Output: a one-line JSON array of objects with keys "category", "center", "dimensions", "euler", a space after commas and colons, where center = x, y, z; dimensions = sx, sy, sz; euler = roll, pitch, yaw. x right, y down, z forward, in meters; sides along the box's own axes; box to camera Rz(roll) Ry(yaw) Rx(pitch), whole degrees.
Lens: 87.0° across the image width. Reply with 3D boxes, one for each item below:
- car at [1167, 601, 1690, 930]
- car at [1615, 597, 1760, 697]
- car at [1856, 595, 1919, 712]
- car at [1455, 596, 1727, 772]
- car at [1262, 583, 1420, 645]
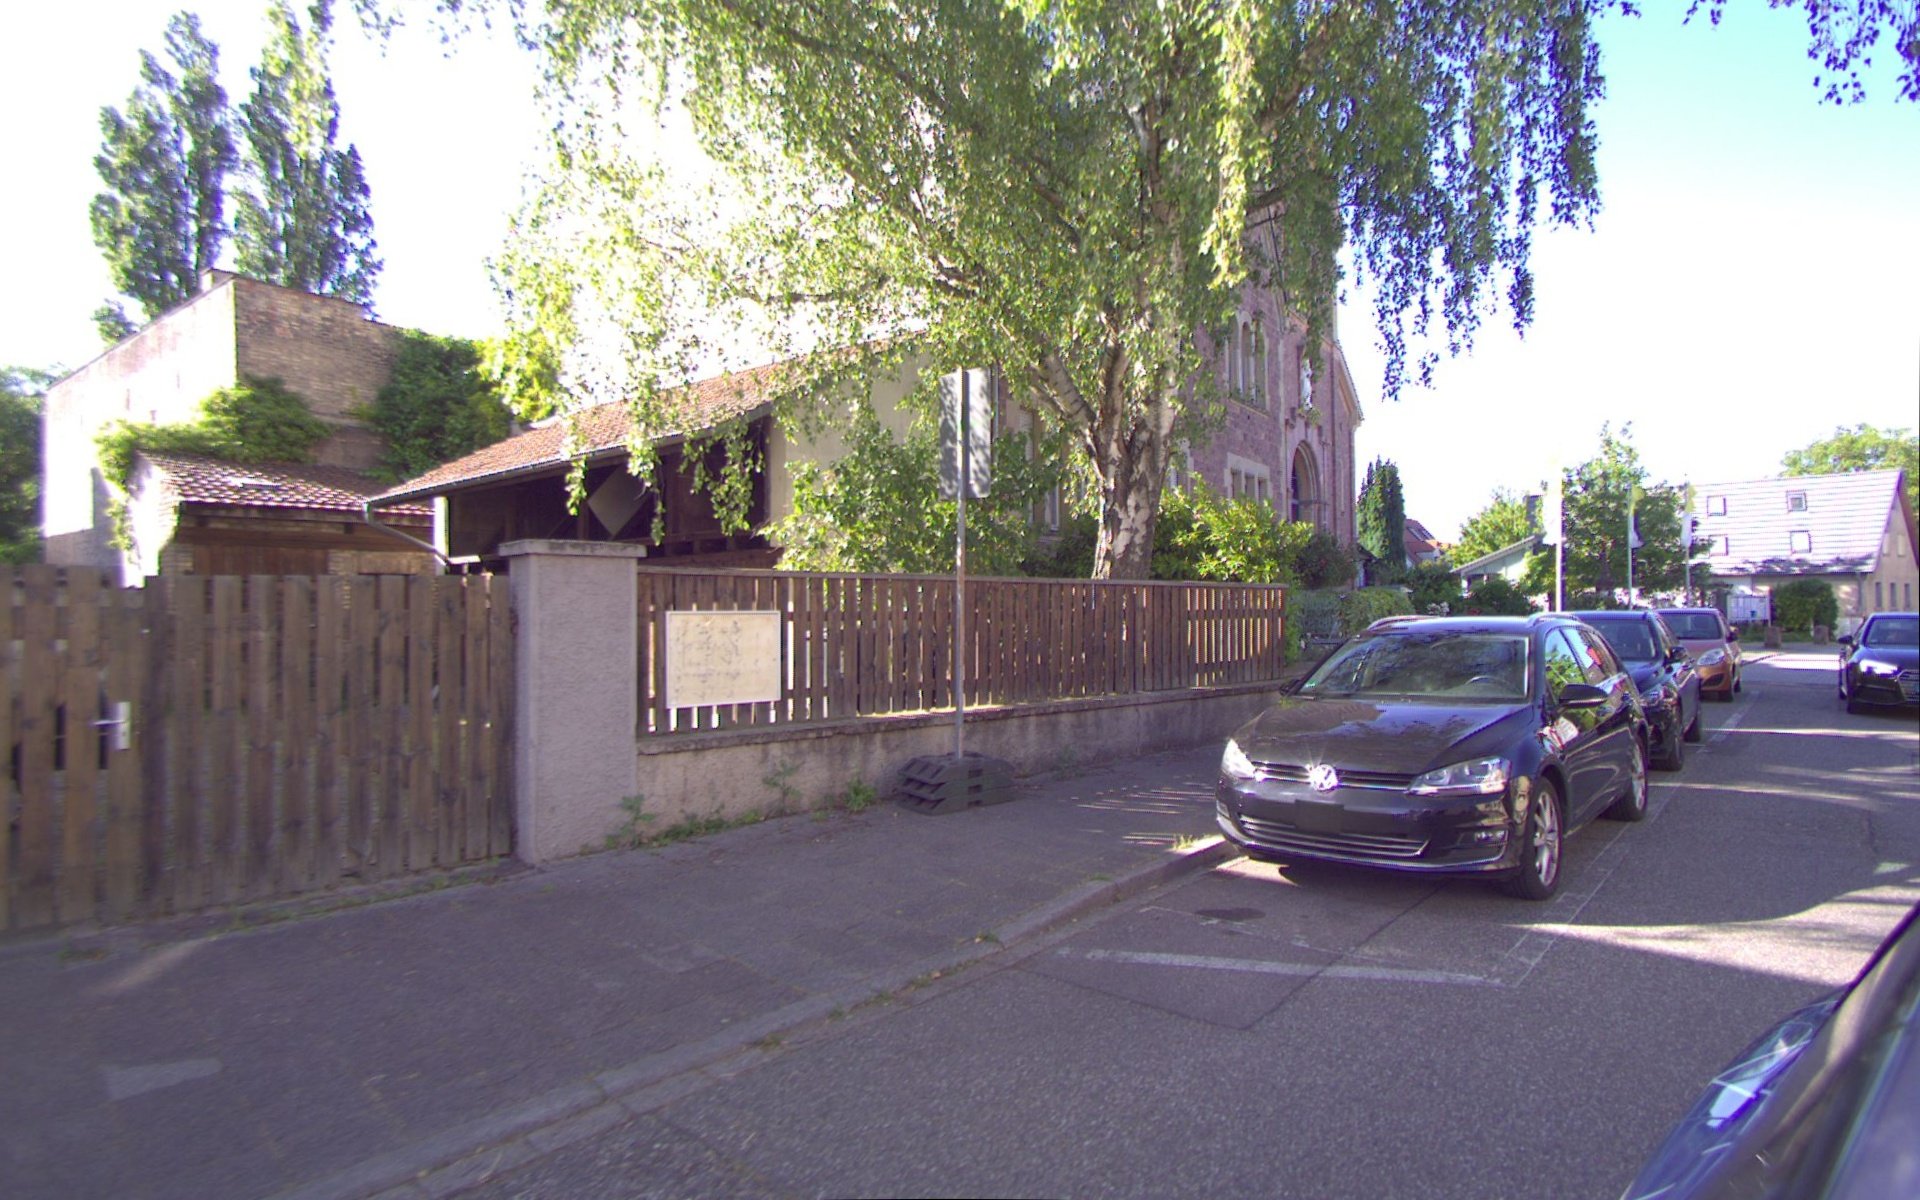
[{"category": "car", "center": [3.299, 0.768, 6.652], "dimensions": [1.807, 1.454, 4.217], "euler": [-2, -2, 44]}, {"category": "car", "center": [12.378, 0.735, 17.125], "dimensions": [1.646, 1.498, 3.875], "euler": [-2, -2, 40]}, {"category": "car", "center": [13.932, 0.687, 14.309], "dimensions": [1.802, 1.496, 4.276], "euler": [0, 0, 43]}, {"category": "car", "center": [6.749, 0.735, 10.609], "dimensions": [1.805, 1.454, 4.222], "euler": [-2, -2, 40]}, {"category": "car", "center": [10.883, 0.336, 28.988], "dimensions": [3.887, 1.514, 1.880], "euler": [3, 3, 36]}]
